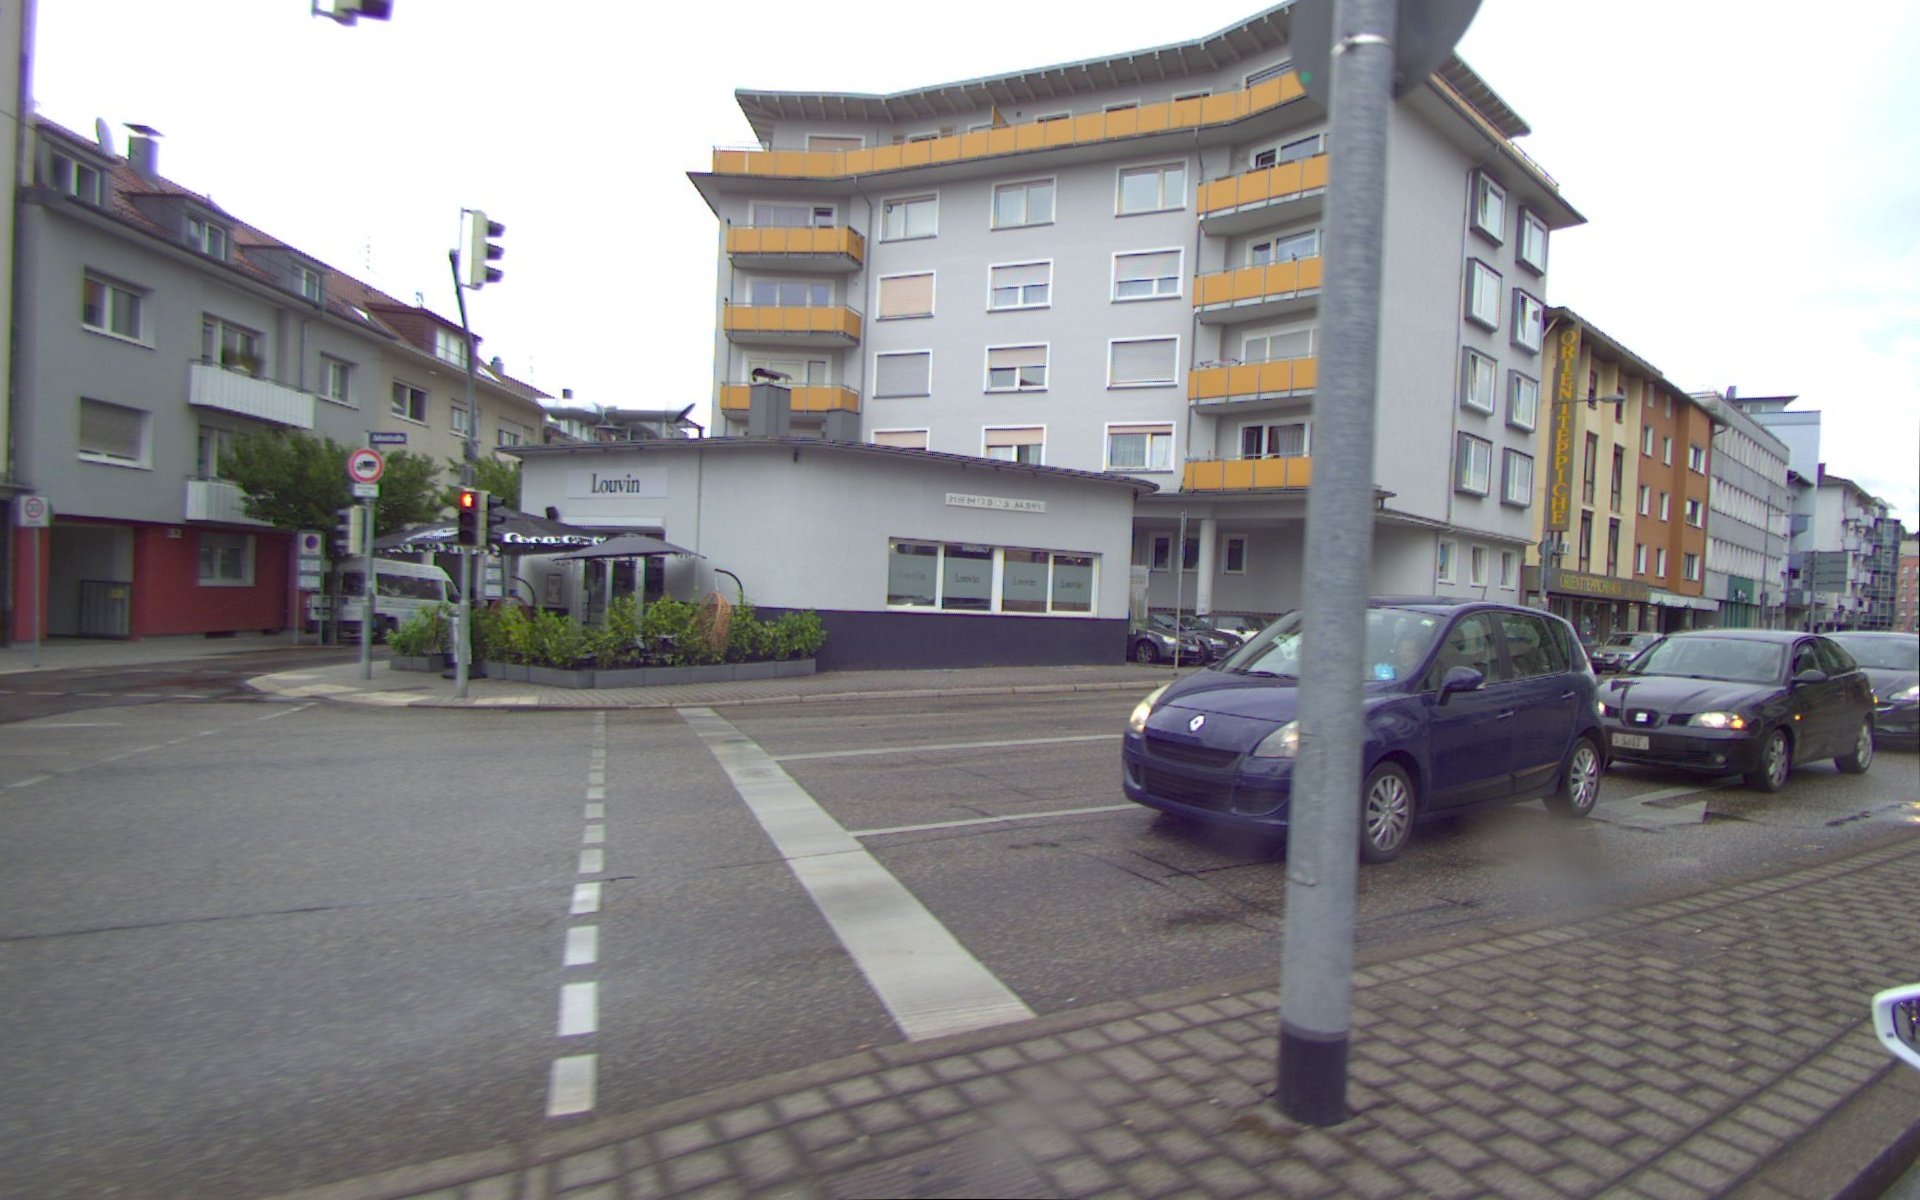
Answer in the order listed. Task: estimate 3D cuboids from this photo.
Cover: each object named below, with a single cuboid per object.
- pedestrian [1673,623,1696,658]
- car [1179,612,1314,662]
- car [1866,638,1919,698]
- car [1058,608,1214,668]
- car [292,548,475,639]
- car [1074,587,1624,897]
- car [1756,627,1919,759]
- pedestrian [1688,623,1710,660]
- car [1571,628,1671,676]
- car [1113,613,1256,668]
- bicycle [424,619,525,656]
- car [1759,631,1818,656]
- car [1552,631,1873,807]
[{"bbox_3d":[37.807,2.113,52.409,0.902,1.697,0.624,3,5,-43],"label":"pedestrian"},{"bbox_3d":[8.401,1.065,29.663,1.486,1.356,3.587,3,-2,-44],"label":"car"},{"bbox_3d":[25.457,1.815,26.895,1.713,1.459,4.390,2,0,42],"label":"car"},{"bbox_3d":[4.618,0.982,26.698,1.784,1.439,3.779,4,-3,-41],"label":"car"},{"bbox_3d":[-17.861,-0.178,31.515,2.358,2.543,5.260,2,0,5],"label":"car"},{"bbox_3d":[2.970,0.792,7.296,4.171,1.636,1.743,2,0,-36],"label":"car"},{"bbox_3d":[12.395,1.181,13.701,3.958,1.473,1.630,2,1,-41],"label":"car"},{"bbox_3d":[38.278,2.139,52.012,0.821,1.812,0.569,3,5,-42],"label":"pedestrian"},{"bbox_3d":[22.044,1.747,33.428,4.079,1.384,1.713,4,-1,-41],"label":"car"},{"bbox_3d":[6.297,1.116,28.429,1.626,1.439,3.724,2,-2,-41],"label":"car"},{"bbox_3d":[-11.997,0.913,24.853,2.168,0.819,0.619,2,0,-3],"label":"bicycle"},{"bbox_3d":[77.279,4.060,93.707,1.568,2.061,3.929,3,0,-40],"label":"car"},{"bbox_3d":[7.637,1.044,10.101,3.691,1.416,1.545,1,0,-36],"label":"car"}]
